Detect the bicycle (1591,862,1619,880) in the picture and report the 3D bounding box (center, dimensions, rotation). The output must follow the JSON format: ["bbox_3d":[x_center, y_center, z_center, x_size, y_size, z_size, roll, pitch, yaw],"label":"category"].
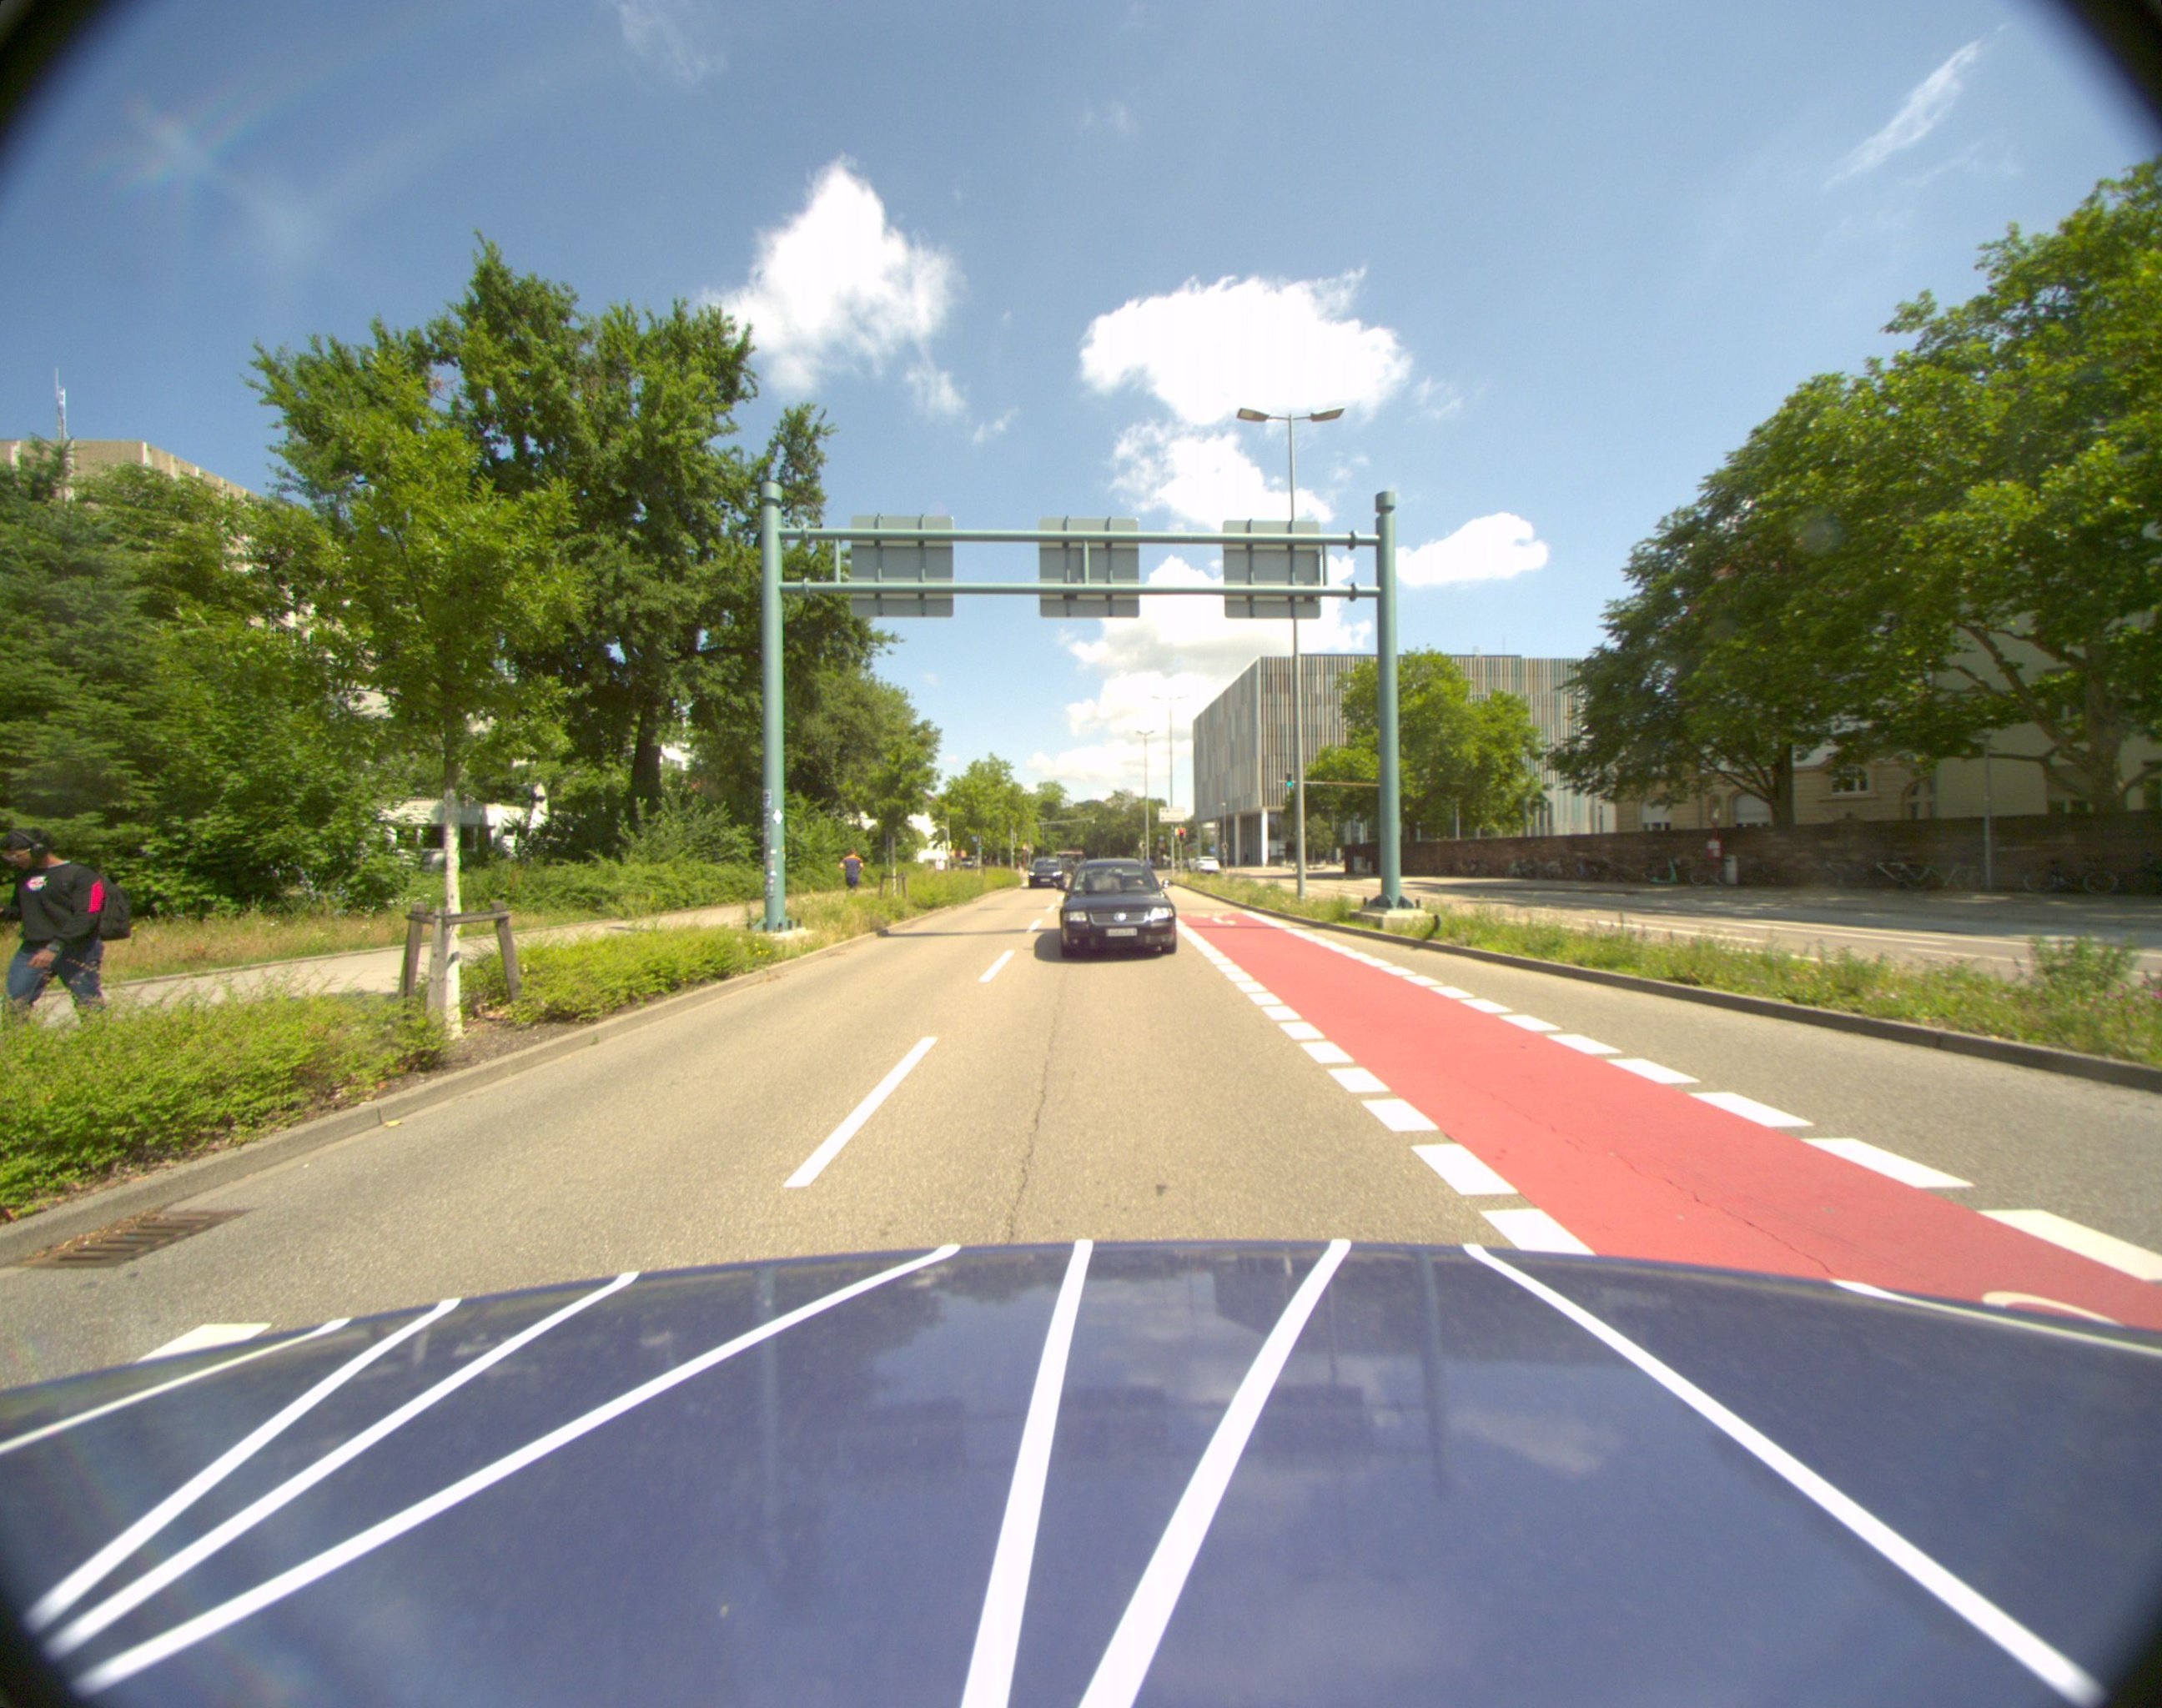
[{"bbox_3d":[24.015,0.783,34.835,0.265,0.826,1.235,-1,0,-11],"label":"bicycle"}]

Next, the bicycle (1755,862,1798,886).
[{"bbox_3d":[25.181,0.707,27.520,0.265,0.826,1.235,-1,0,-11],"label":"bicycle"}]

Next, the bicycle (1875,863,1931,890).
[{"bbox_3d":[25.984,0.700,24.041,0.265,0.826,1.235,-1,0,-11],"label":"bicycle"}]

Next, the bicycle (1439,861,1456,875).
[{"bbox_3d":[22.481,0.854,46.649,0.265,0.826,1.235,-1,0,-11],"label":"bicycle"}]

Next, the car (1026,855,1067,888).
[{"bbox_3d":[-1.771,0.898,40.440,1.816,1.598,4.479,-3,0,1],"label":"car"}]

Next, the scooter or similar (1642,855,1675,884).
[{"bbox_3d":[23.778,0.623,31.295,0.265,1.182,1.234,-1,0,-11],"label":"scooter or similar"}]

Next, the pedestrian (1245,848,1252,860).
[{"bbox_3d":[27.340,0.005,124.200,0.864,2.002,0.995,-1,0,0],"label":"pedestrian"}]

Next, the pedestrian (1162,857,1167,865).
[{"bbox_3d":[15.865,1.346,144.577,0.864,1.647,0.995,-1,0,-1],"label":"pedestrian"}]

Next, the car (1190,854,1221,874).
[{"bbox_3d":[11.091,0.836,68.044,1.999,1.701,4.512,-1,0,-1],"label":"car"}]

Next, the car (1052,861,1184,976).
[{"bbox_3d":[0.528,0.892,12.571,1.723,1.472,4.594,-3,0,1],"label":"car"}]

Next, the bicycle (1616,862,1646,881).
[{"bbox_3d":[24.141,0.771,33.360,0.265,0.826,1.235,-1,0,-11],"label":"bicycle"}]

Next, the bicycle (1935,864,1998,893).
[{"bbox_3d":[26.235,0.721,22.529,0.265,0.826,1.235,-1,0,-11],"label":"bicycle"}]

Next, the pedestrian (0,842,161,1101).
[{"bbox_3d":[-7.296,0.764,5.311,0.760,1.674,0.817,-1,0,12],"label":"pedestrian"}]

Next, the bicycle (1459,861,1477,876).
[{"bbox_3d":[22.796,0.855,44.769,0.265,0.826,1.235,-1,0,-11],"label":"bicycle"}]

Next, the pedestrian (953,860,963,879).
[{"bbox_3d":[-10.745,1.343,66.159,0.768,1.601,0.764,-1,0,-15],"label":"pedestrian"}]

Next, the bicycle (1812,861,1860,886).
[{"bbox_3d":[25.676,0.659,25.851,0.265,0.826,1.235,-1,0,-11],"label":"bicycle"}]

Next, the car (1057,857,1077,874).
[{"bbox_3d":[-1.381,1.179,77.194,1.816,1.598,4.479,-3,0,1],"label":"car"}]

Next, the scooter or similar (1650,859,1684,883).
[{"bbox_3d":[24.567,0.705,31.850,0.266,1.014,1.140,-1,0,-22],"label":"scooter or similar"}]

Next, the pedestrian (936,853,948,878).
[{"bbox_3d":[-11.214,0.933,61.096,0.846,2.026,0.900,-1,0,-16],"label":"pedestrian"}]

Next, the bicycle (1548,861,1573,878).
[{"bbox_3d":[23.655,0.748,37.468,0.265,0.826,1.235,-1,0,-11],"label":"bicycle"}]

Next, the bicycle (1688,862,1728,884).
[{"bbox_3d":[24.811,0.739,30.080,0.265,0.826,1.233,-1,0,-21],"label":"bicycle"}]

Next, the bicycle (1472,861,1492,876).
[{"bbox_3d":[22.919,0.814,43.430,0.265,0.826,1.234,-1,0,-11],"label":"bicycle"}]

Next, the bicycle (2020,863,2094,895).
[{"bbox_3d":[26.574,0.670,20.707,0.265,0.826,1.234,-1,0,-13],"label":"bicycle"}]

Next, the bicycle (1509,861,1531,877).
[{"bbox_3d":[23.351,0.790,40.408,0.265,0.826,1.234,-1,0,-11],"label":"bicycle"}]

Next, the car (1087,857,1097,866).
[{"bbox_3d":[1.870,1.266,130.559,1.723,1.545,4.594,-3,0,1],"label":"car"}]

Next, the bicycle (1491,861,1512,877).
[{"bbox_3d":[23.145,0.817,41.803,0.265,0.826,1.234,-1,0,-11],"label":"bicycle"}]

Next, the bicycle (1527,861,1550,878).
[{"bbox_3d":[23.460,0.787,38.997,0.265,0.826,1.235,-1,0,-11],"label":"bicycle"}]

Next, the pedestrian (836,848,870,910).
[{"bbox_3d":[-6.574,0.707,21.937,0.639,1.754,0.887,-1,0,7],"label":"pedestrian"}]

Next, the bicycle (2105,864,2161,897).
[{"bbox_3d":[27.120,0.665,19.346,0.265,0.826,1.234,-1,0,-13],"label":"bicycle"}]

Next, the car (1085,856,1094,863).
[{"bbox_3d":[1.839,1.222,160.768,1.806,1.361,4.157,-1,1,1],"label":"car"}]

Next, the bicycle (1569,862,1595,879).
[{"bbox_3d":[23.868,0.779,36.201,0.265,0.826,1.235,-1,0,-11],"label":"bicycle"}]

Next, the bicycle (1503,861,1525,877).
[{"bbox_3d":[22.845,0.807,40.084,0.265,0.826,1.234,-1,0,-11],"label":"bicycle"}]

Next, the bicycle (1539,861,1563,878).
[{"bbox_3d":[23.205,0.749,37.532,0.265,0.826,1.234,-1,0,-11],"label":"bicycle"}]
